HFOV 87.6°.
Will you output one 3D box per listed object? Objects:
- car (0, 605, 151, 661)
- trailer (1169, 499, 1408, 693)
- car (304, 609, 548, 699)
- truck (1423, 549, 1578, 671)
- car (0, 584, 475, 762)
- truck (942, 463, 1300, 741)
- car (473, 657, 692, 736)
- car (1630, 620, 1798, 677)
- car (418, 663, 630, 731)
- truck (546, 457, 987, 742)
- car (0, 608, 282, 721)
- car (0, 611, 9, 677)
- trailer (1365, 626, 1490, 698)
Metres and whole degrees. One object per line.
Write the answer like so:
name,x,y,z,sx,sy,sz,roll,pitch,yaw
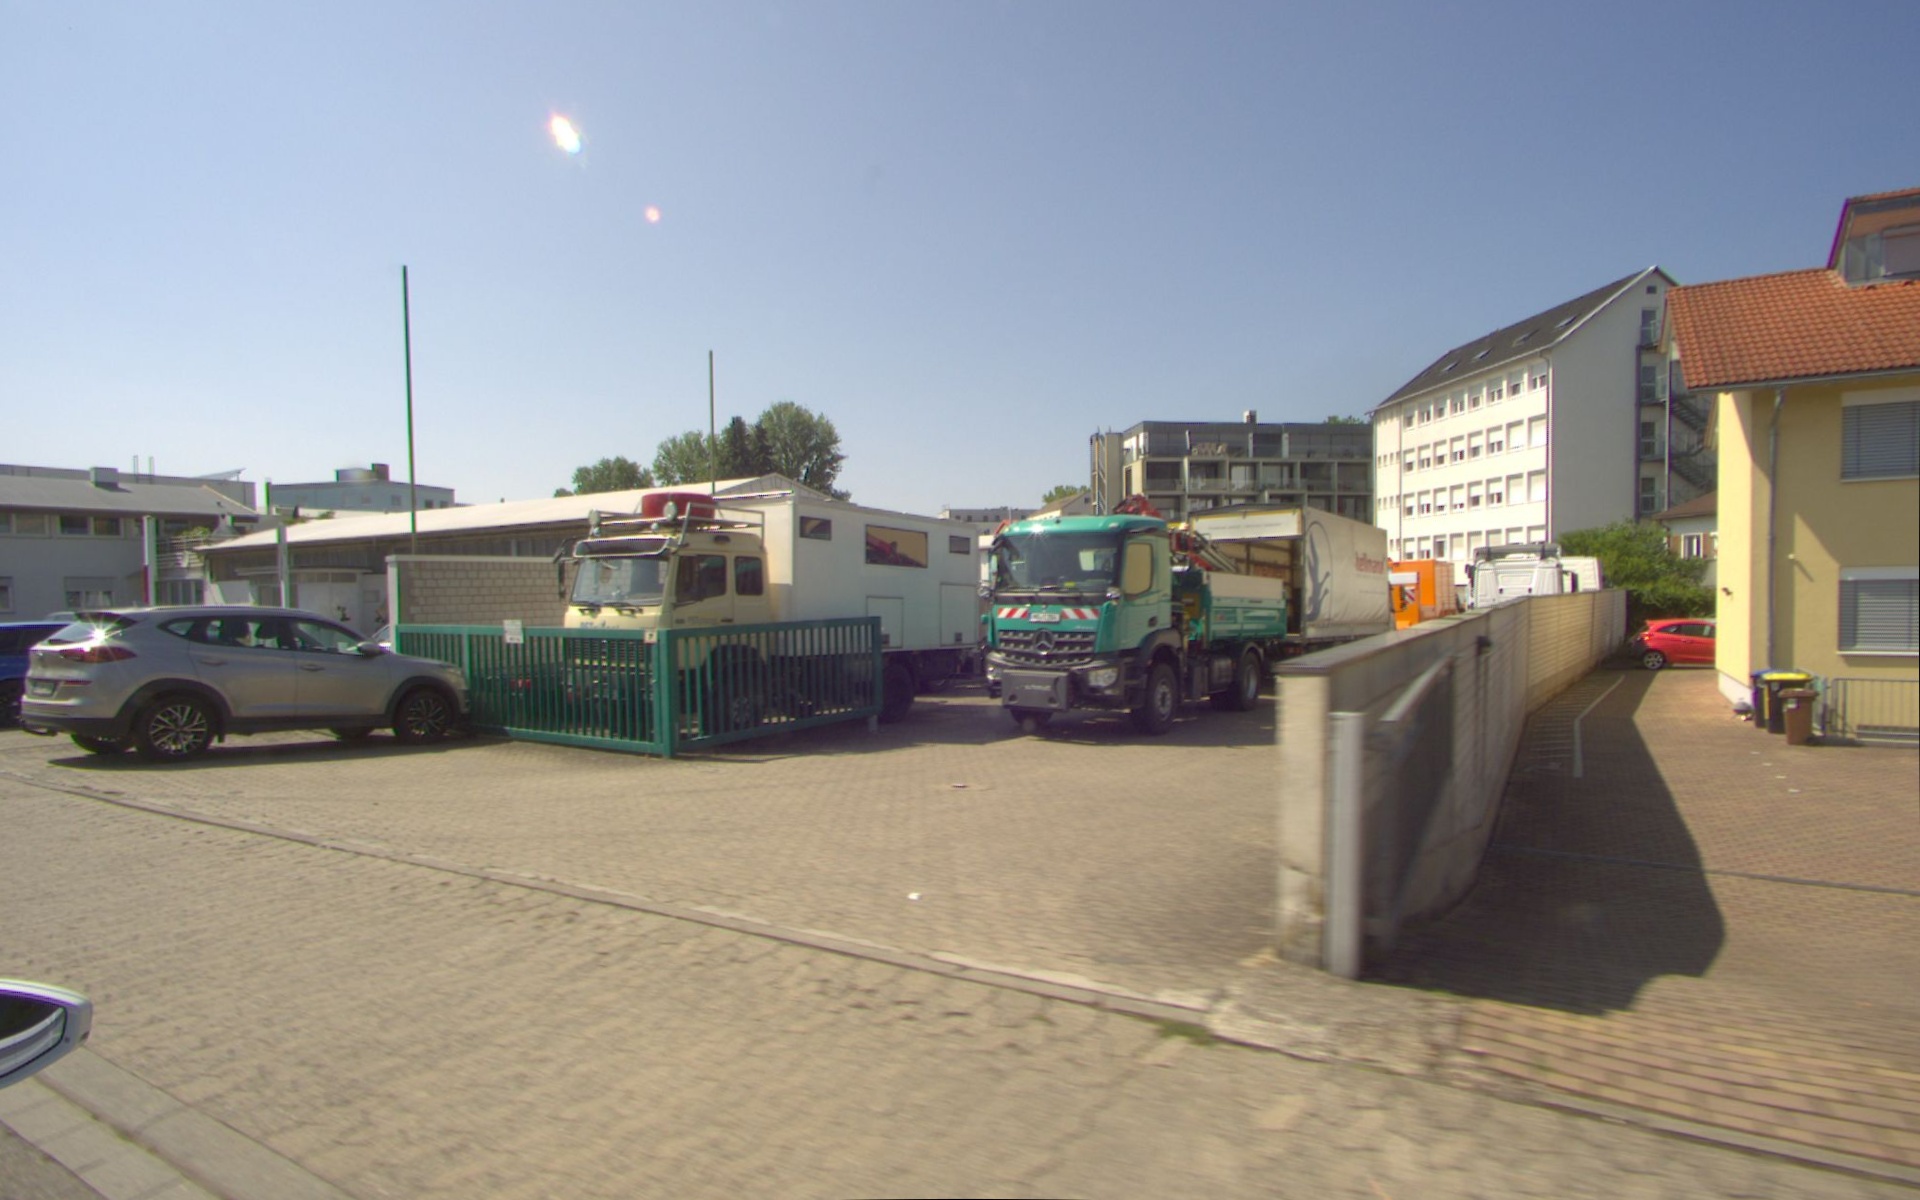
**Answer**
car,-26.280,0.978,29.660,4.078,1.516,1.760,-1,2,21
trailer,8.313,-0.084,24.449,3.028,3.914,8.303,-1,0,37
car,-9.919,0.945,18.549,4.387,1.461,1.884,-1,0,29
truck,16.567,0.367,30.749,3.949,3.521,1.853,-1,-3,37
car,-8.234,0.862,11.856,1.741,1.702,4.198,-1,-4,31
truck,3.261,0.056,17.415,2.913,3.658,8.253,-1,0,34
car,-5.532,1.381,14.933,1.269,1.016,2.893,-1,-3,32
car,22.615,1.418,30.258,3.946,1.595,1.923,-1,-1,35
car,-6.856,1.493,15.964,1.269,0.926,2.893,-1,-3,32
truck,-2.529,0.192,16.015,2.490,3.465,7.509,-1,-3,32
car,-13.154,0.907,15.193,1.864,1.461,4.345,-1,0,31
car,-25.657,1.069,25.241,3.570,1.615,1.755,0,-3,35
trailer,9.959,1.247,21.201,1.972,1.331,3.685,-1,-1,32
